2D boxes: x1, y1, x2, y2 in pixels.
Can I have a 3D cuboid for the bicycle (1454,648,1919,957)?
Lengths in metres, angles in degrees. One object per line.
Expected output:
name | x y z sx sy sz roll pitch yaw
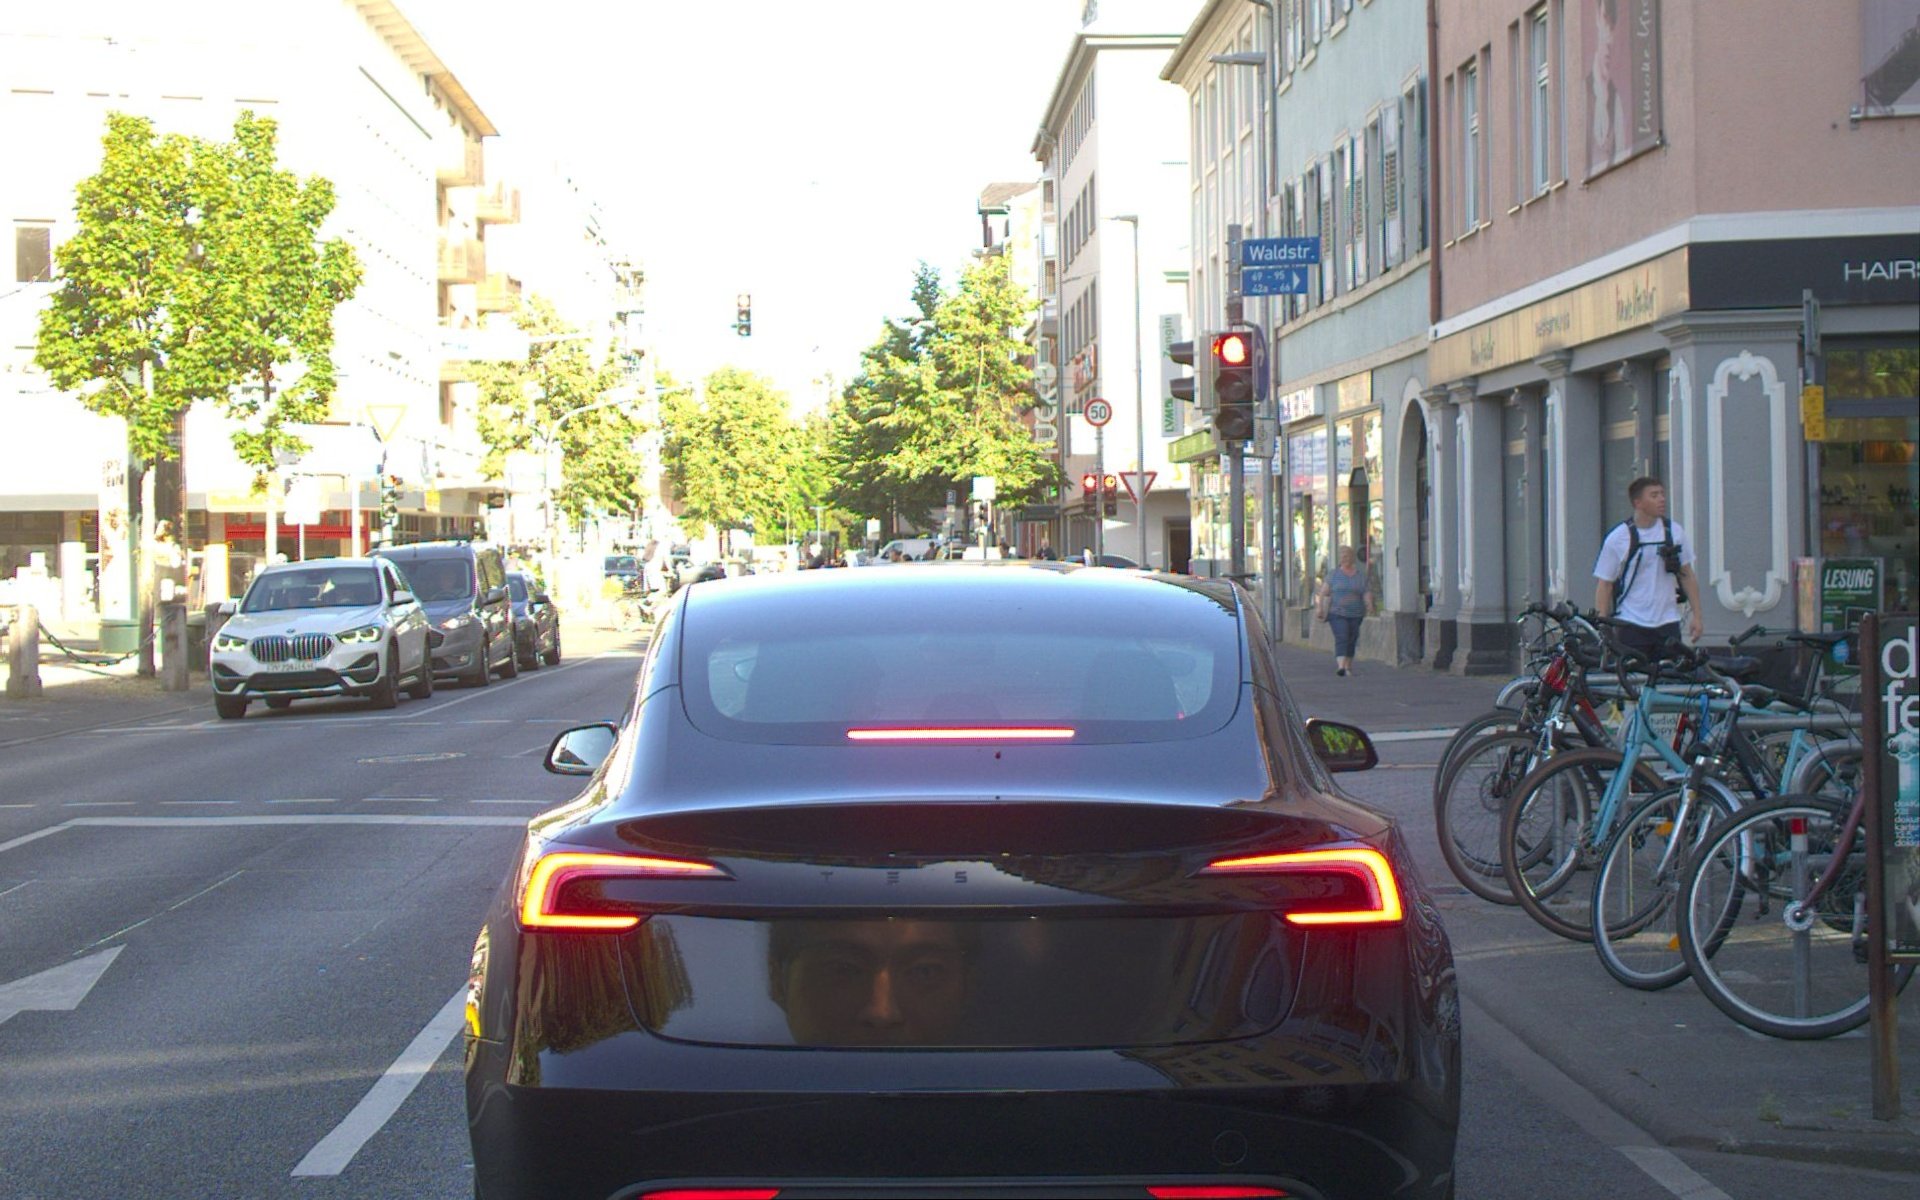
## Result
bicycle | 2.774 0.722 12.464 1.873 1.034 0.533 -2 0 4

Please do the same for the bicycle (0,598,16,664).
bicycle | -14.701 0.436 49.850 1.864 0.931 0.606 1 0 -1

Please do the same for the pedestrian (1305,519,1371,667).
pedestrian | 4.473 -0.085 40.688 0.706 1.736 0.540 0 1 -1

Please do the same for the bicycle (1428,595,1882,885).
bicycle | 2.961 0.595 14.762 1.828 1.165 0.505 -2 0 5

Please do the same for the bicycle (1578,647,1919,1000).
bicycle | 2.990 0.705 11.141 1.873 1.084 0.414 -2 0 4

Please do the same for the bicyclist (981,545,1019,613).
bicyclist | 0.819 -0.430 70.405 0.669 1.390 0.462 1 0 -16

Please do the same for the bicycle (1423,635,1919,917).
bicycle | 2.812 0.691 13.643 1.873 1.034 0.547 -2 0 5

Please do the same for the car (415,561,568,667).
car | -6.718 0.173 49.612 1.715 1.441 3.845 1 1 -1

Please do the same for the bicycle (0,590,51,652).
bicycle | -14.807 0.321 52.188 1.864 0.931 0.606 0 1 -1

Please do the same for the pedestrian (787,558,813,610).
pedestrian | -4.346 -0.434 93.124 0.521 1.417 0.479 1 0 -30

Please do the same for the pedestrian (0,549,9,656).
pedestrian | -18.472 0.038 64.610 1.057 2.007 1.055 1 0 -20

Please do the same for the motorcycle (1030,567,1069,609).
motorcycle | 2.325 -0.318 89.349 0.977 1.082 0.356 0 1 -37

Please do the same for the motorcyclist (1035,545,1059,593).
motorcyclist | 2.265 -0.804 89.295 0.489 1.249 0.355 0 1 -38

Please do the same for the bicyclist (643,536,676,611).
bicyclist | -6.067 -0.542 69.463 0.522 1.498 0.476 1 0 -24

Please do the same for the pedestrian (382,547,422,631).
pedestrian | -10.180 -0.202 62.713 0.622 1.532 0.514 1 0 -18

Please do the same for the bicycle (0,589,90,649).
bicycle | -14.835 0.296 54.636 1.864 0.931 0.606 0 1 -1

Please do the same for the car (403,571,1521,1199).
car | -0.019 0.659 7.612 1.822 1.437 4.000 0 1 -1

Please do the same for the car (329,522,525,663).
car | -6.523 -0.124 42.462 1.787 1.640 4.403 0 1 -1

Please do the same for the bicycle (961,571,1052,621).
bicycle | 0.952 -0.089 70.448 1.784 1.003 0.472 1 0 -16

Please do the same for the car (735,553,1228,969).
car | 0.008 0.536 13.863 1.718 1.420 3.758 0 1 -2

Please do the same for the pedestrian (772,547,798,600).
pedestrian | -4.690 -0.703 92.170 0.521 1.417 0.479 1 0 -30

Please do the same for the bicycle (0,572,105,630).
bicycle | -20.663 0.019 78.033 2.361 1.291 0.513 1 0 -26

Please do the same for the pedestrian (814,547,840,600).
pedestrian | -3.603 -0.726 92.808 0.521 1.417 0.479 1 0 -30

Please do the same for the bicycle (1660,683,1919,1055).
bicycle | 3.012 0.758 9.959 1.873 1.034 0.353 -2 0 6

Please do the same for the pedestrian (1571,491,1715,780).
pedestrian | 4.245 0.213 21.422 0.750 1.759 0.836 1 0 4

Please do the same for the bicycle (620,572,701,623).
bicycle | -6.047 -0.054 69.480 1.556 1.009 0.484 1 0 -24

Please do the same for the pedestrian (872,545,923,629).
pedestrian | -1.232 -0.255 67.640 0.754 1.626 0.956 1 0 -18

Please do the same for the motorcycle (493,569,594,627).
motorcycle | -8.101 -0.042 66.909 1.927 1.107 0.519 -1 1 -35

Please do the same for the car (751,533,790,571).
car | -10.307 -2.624 187.188 1.993 2.007 4.000 0 1 -1

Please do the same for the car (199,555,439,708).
car | -6.684 0.294 36.206 1.789 1.455 3.757 -2 1 0
